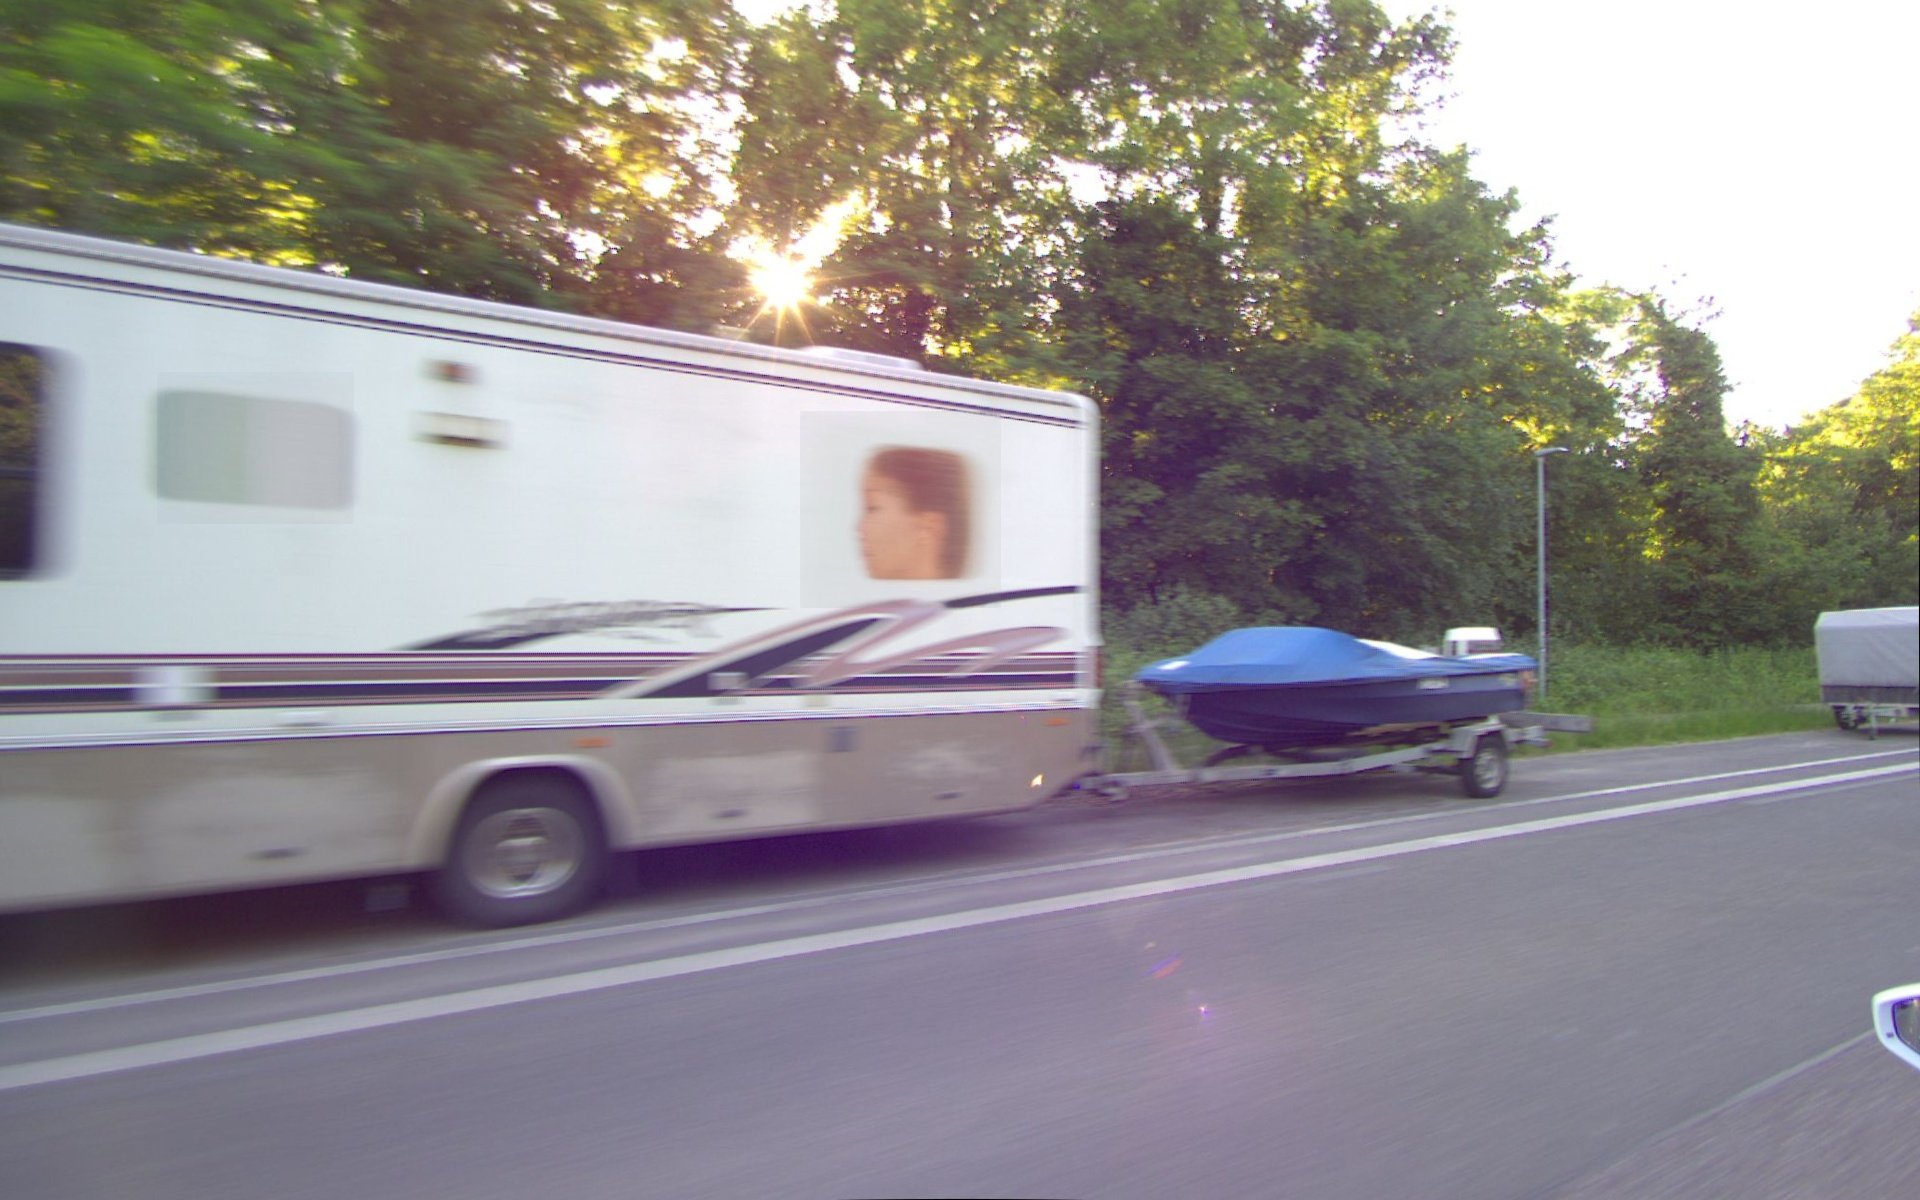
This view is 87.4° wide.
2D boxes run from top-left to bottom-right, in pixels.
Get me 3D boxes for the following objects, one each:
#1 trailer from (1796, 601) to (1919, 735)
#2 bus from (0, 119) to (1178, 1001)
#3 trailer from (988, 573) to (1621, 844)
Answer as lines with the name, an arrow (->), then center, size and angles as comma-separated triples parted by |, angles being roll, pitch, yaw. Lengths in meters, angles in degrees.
trailer -> 15.839, 1.102, 16.665 | 3.518, 2.040, 1.845 | 1, -4, -30
bus -> -3.965, -0.144, 5.488 | 11.069, 3.476, 2.814 | 2, 0, -30
trailer -> 3.526, 0.836, 9.812 | 6.190, 1.940, 2.417 | 1, -1, -30
